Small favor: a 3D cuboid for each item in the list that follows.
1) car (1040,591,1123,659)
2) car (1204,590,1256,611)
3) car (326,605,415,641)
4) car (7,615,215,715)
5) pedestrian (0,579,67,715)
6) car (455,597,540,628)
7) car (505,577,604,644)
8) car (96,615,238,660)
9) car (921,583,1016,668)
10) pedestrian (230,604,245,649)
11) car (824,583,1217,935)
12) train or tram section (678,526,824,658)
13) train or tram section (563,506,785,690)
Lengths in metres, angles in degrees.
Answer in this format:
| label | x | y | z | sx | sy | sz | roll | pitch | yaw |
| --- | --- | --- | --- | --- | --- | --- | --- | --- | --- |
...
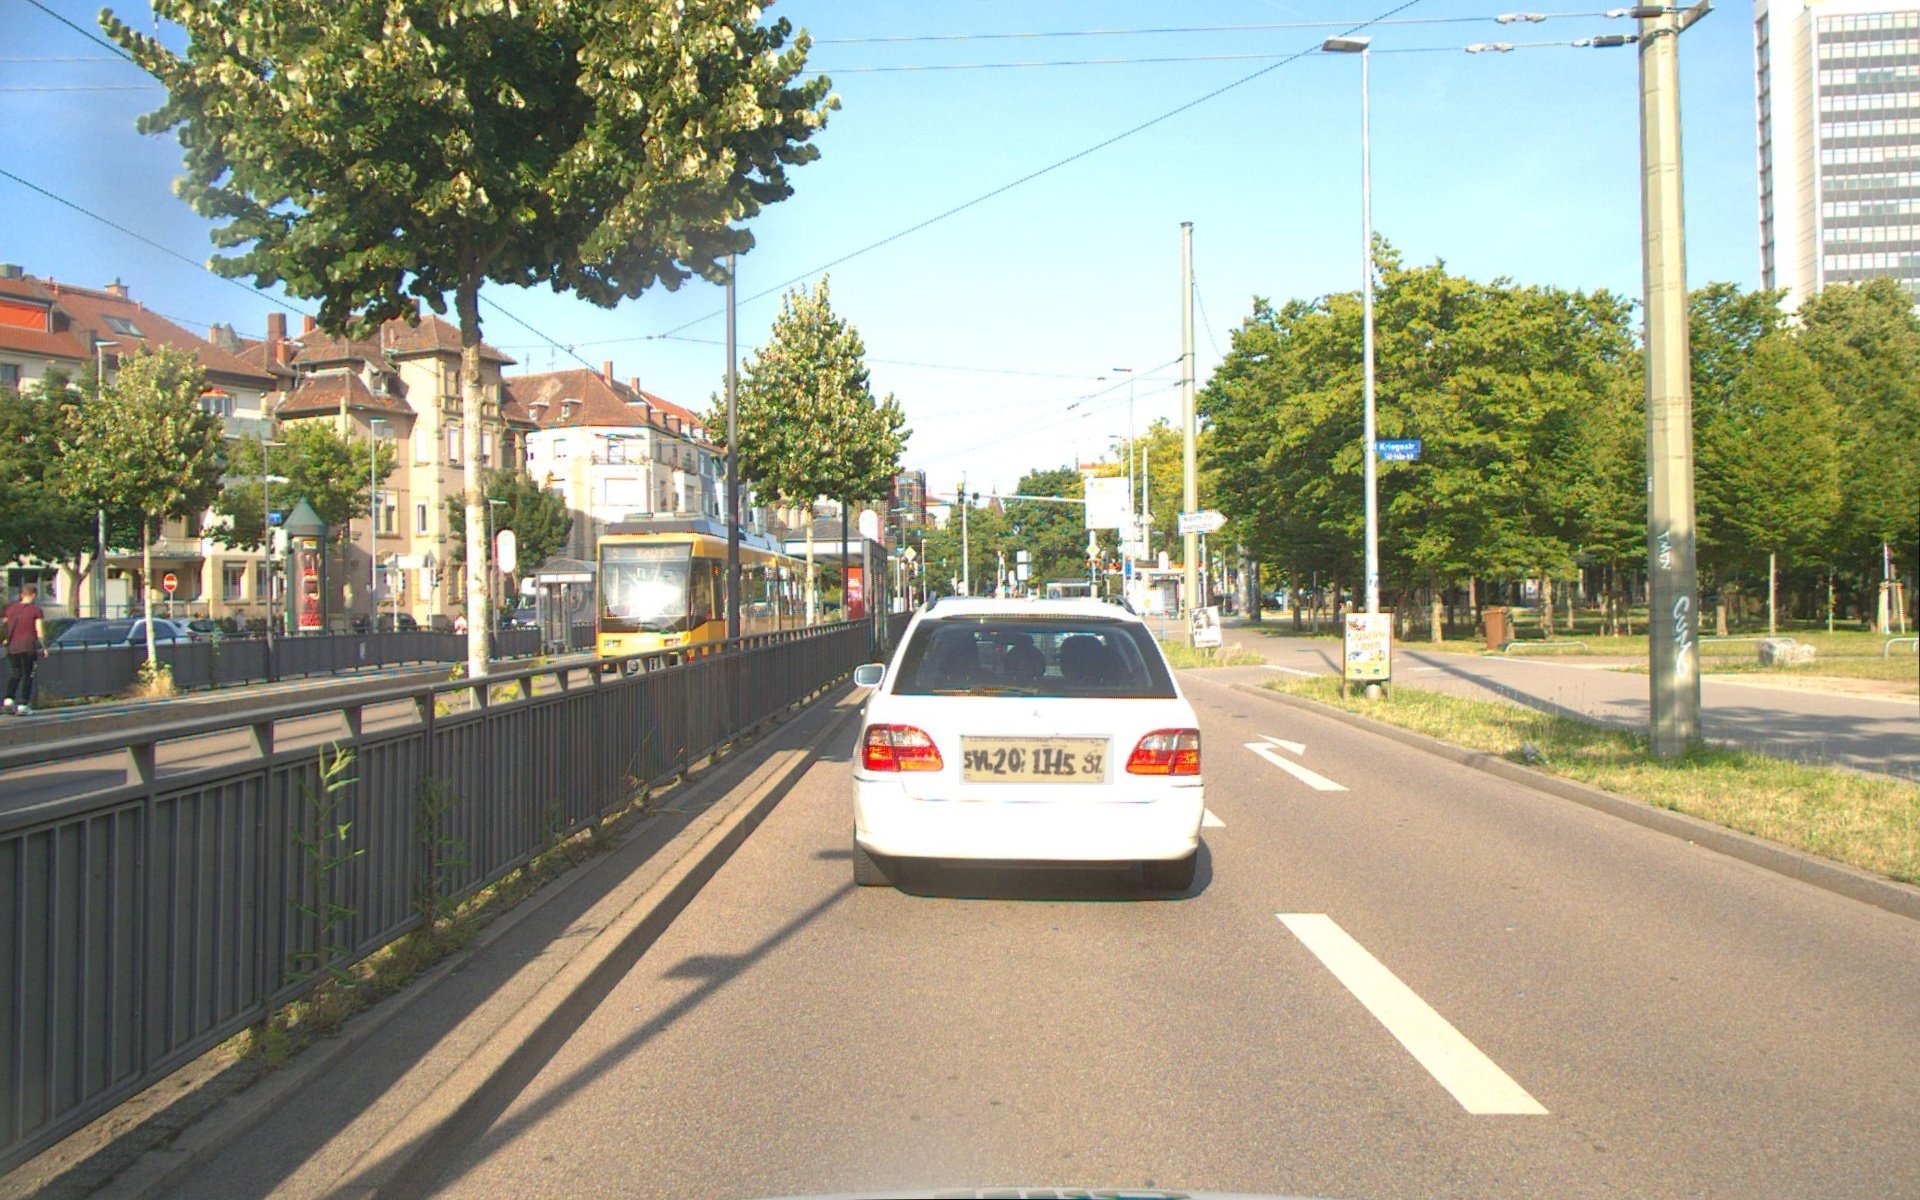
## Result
| label | x | y | z | sx | sy | sz | roll | pitch | yaw |
| --- | --- | --- | --- | --- | --- | --- | --- | --- | --- |
| car | 3.092 | 0.595 | 42.075 | 1.990 | 1.633 | 4.002 | 0 | 0 | 4 |
| car | 22.500 | 0.034 | 137.839 | 3.908 | 1.680 | 1.998 | -2 | 0 | 26 |
| car | -30.280 | 1.178 | 85.039 | 3.903 | 1.780 | 2.001 | 0 | 0 | 18 |
| car | -16.100 | 1.179 | 31.613 | 1.953 | 1.713 | 3.999 | 0 | 0 | -1 |
| pedestrian | -12.491 | 0.615 | 21.953 | 0.818 | 1.763 | 0.772 | -1 | 0 | 0 |
| car | -26.075 | 0.669 | 93.467 | 2.159 | 1.656 | 4.715 | 0 | 0 | 23 |
| car | -17.673 | 0.427 | 72.586 | 2.543 | 2.783 | 7.467 | 0 | 0 | -1 |
| car | -26.299 | 1.247 | 54.895 | 3.902 | 1.422 | 2.002 | 0 | 0 | 15 |
| car | 0.241 | 0.509 | 35.753 | 1.749 | 1.719 | 4.002 | 0 | 0 | 4 |
| pedestrian | -32.947 | 1.217 | 75.425 | 0.412 | 2.049 | 0.434 | 0 | 0 | 18 |
| car | 0.322 | 0.710 | 9.453 | 1.722 | 1.530 | 4.001 | -2 | 0 | 1 |
| train or tram section | -6.190 | -0.257 | 51.265 | 2.791 | 3.540 | 13.200 | 0 | 0 | 0 |
| train or tram section | -6.193 | -0.096 | 38.349 | 2.791 | 3.540 | 13.200 | 0 | 0 | 0 |
